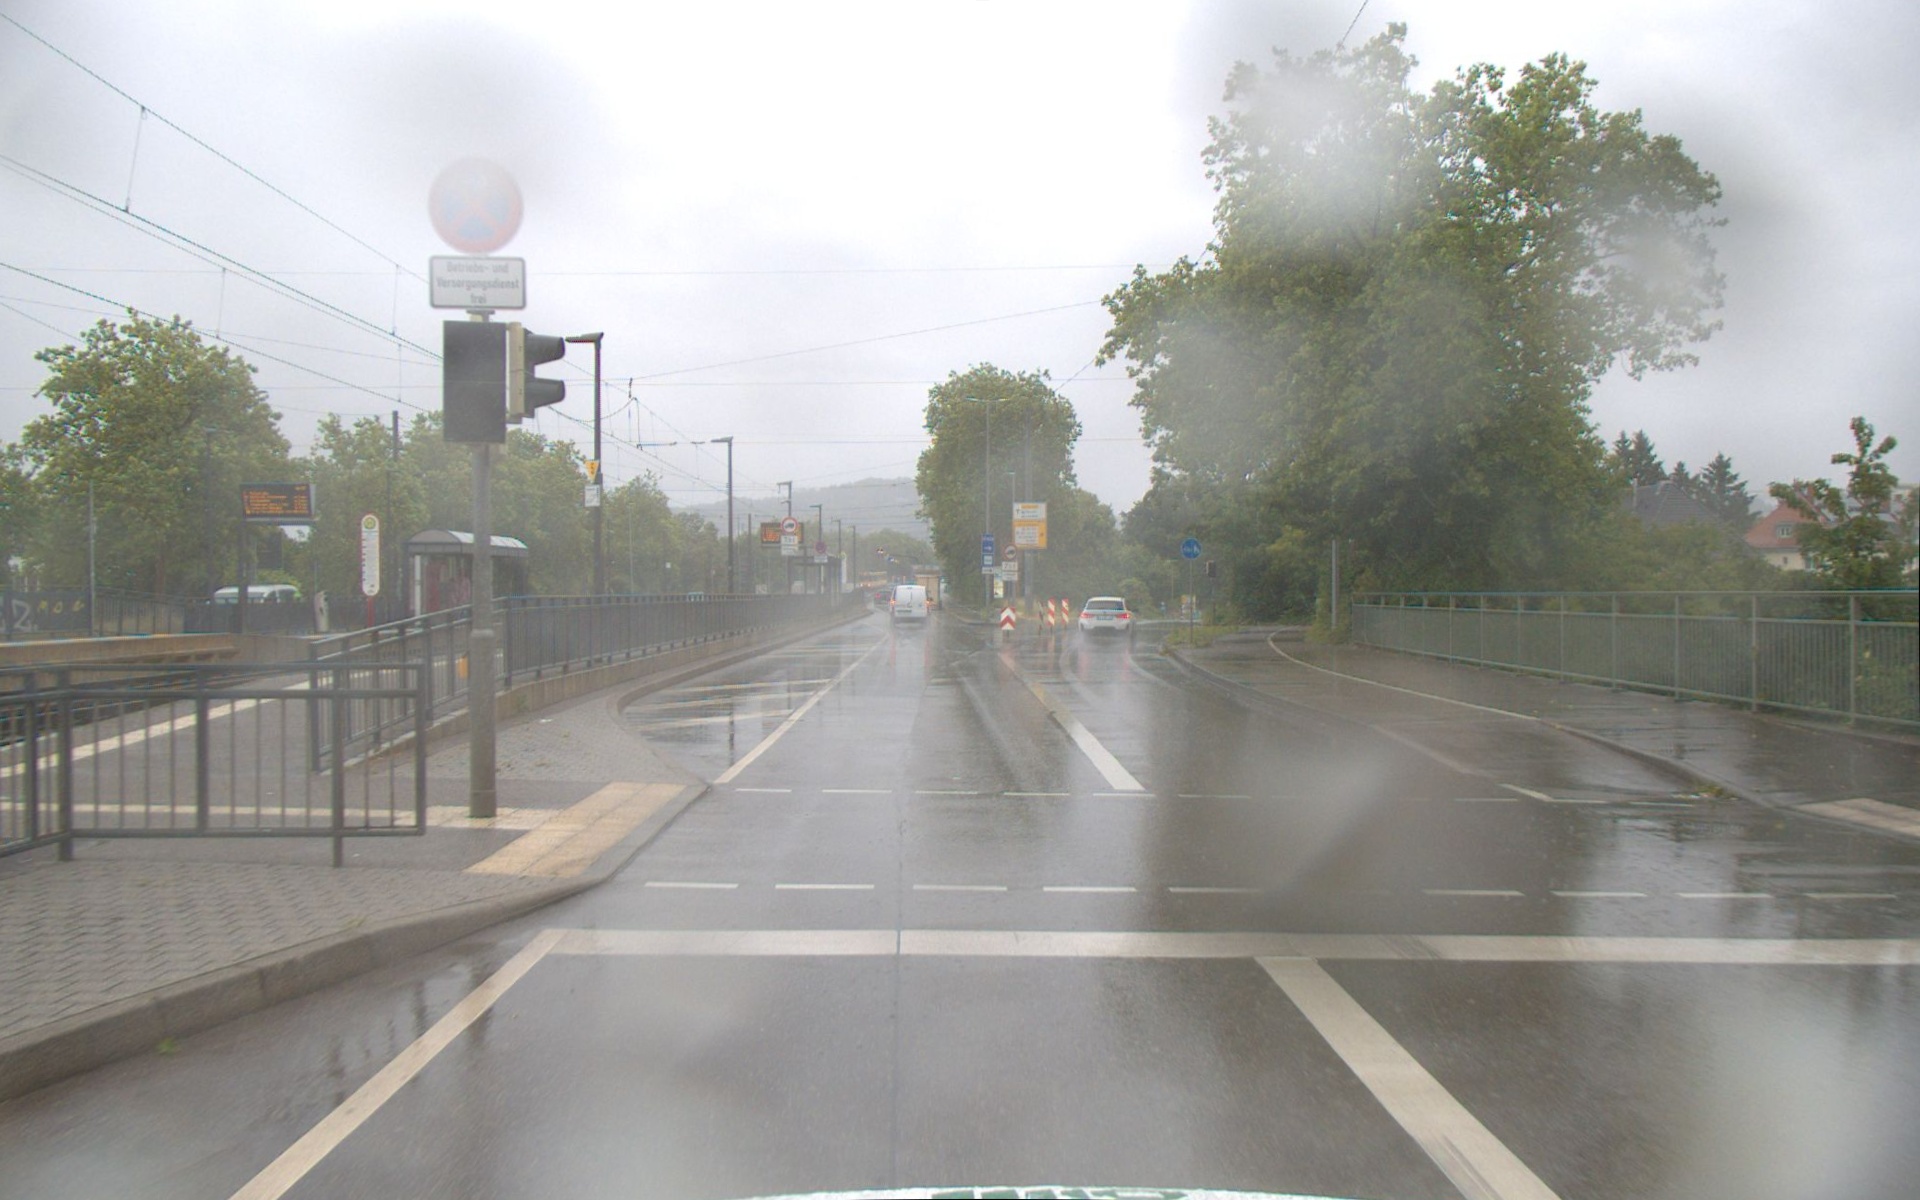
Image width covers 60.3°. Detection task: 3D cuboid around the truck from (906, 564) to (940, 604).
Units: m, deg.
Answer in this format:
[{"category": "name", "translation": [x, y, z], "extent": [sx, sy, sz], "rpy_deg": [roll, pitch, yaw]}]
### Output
[{"category": "truck", "translation": [-3.711, -1.528, 164.072], "extent": [2.721, 3.769, 9.842], "rpy_deg": [0, 0, -5]}]

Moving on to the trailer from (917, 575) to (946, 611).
[{"category": "trailer", "translation": [-2.283, -0.542, 133.122], "extent": [2.121, 2.806, 5.677], "rpy_deg": [0, 0, 1]}]

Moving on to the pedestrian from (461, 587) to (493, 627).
[{"category": "pedestrian", "translation": [-16.513, 0.241, 56.584], "extent": [0.814, 1.339, 0.858], "rpy_deg": [1, 0, -1]}]

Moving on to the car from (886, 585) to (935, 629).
[{"category": "car", "translation": [-2.190, 0.280, 72.693], "extent": [1.954, 1.881, 3.996], "rpy_deg": [0, 0, -5]}]

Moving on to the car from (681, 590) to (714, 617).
[{"category": "car", "translation": [-20.736, 0.272, 130.747], "extent": [1.953, 2.049, 3.999], "rpy_deg": [0, 0, 0]}]

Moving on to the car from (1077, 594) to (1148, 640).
[{"category": "car", "translation": [5.119, 0.532, 55.127], "extent": [1.848, 1.456, 4.003], "rpy_deg": [0, 0, 13]}]

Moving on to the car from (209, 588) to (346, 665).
[{"category": "car", "translation": [-19.216, 0.699, 46.812], "extent": [1.953, 2.049, 4.752], "rpy_deg": [1, 0, -1]}]
